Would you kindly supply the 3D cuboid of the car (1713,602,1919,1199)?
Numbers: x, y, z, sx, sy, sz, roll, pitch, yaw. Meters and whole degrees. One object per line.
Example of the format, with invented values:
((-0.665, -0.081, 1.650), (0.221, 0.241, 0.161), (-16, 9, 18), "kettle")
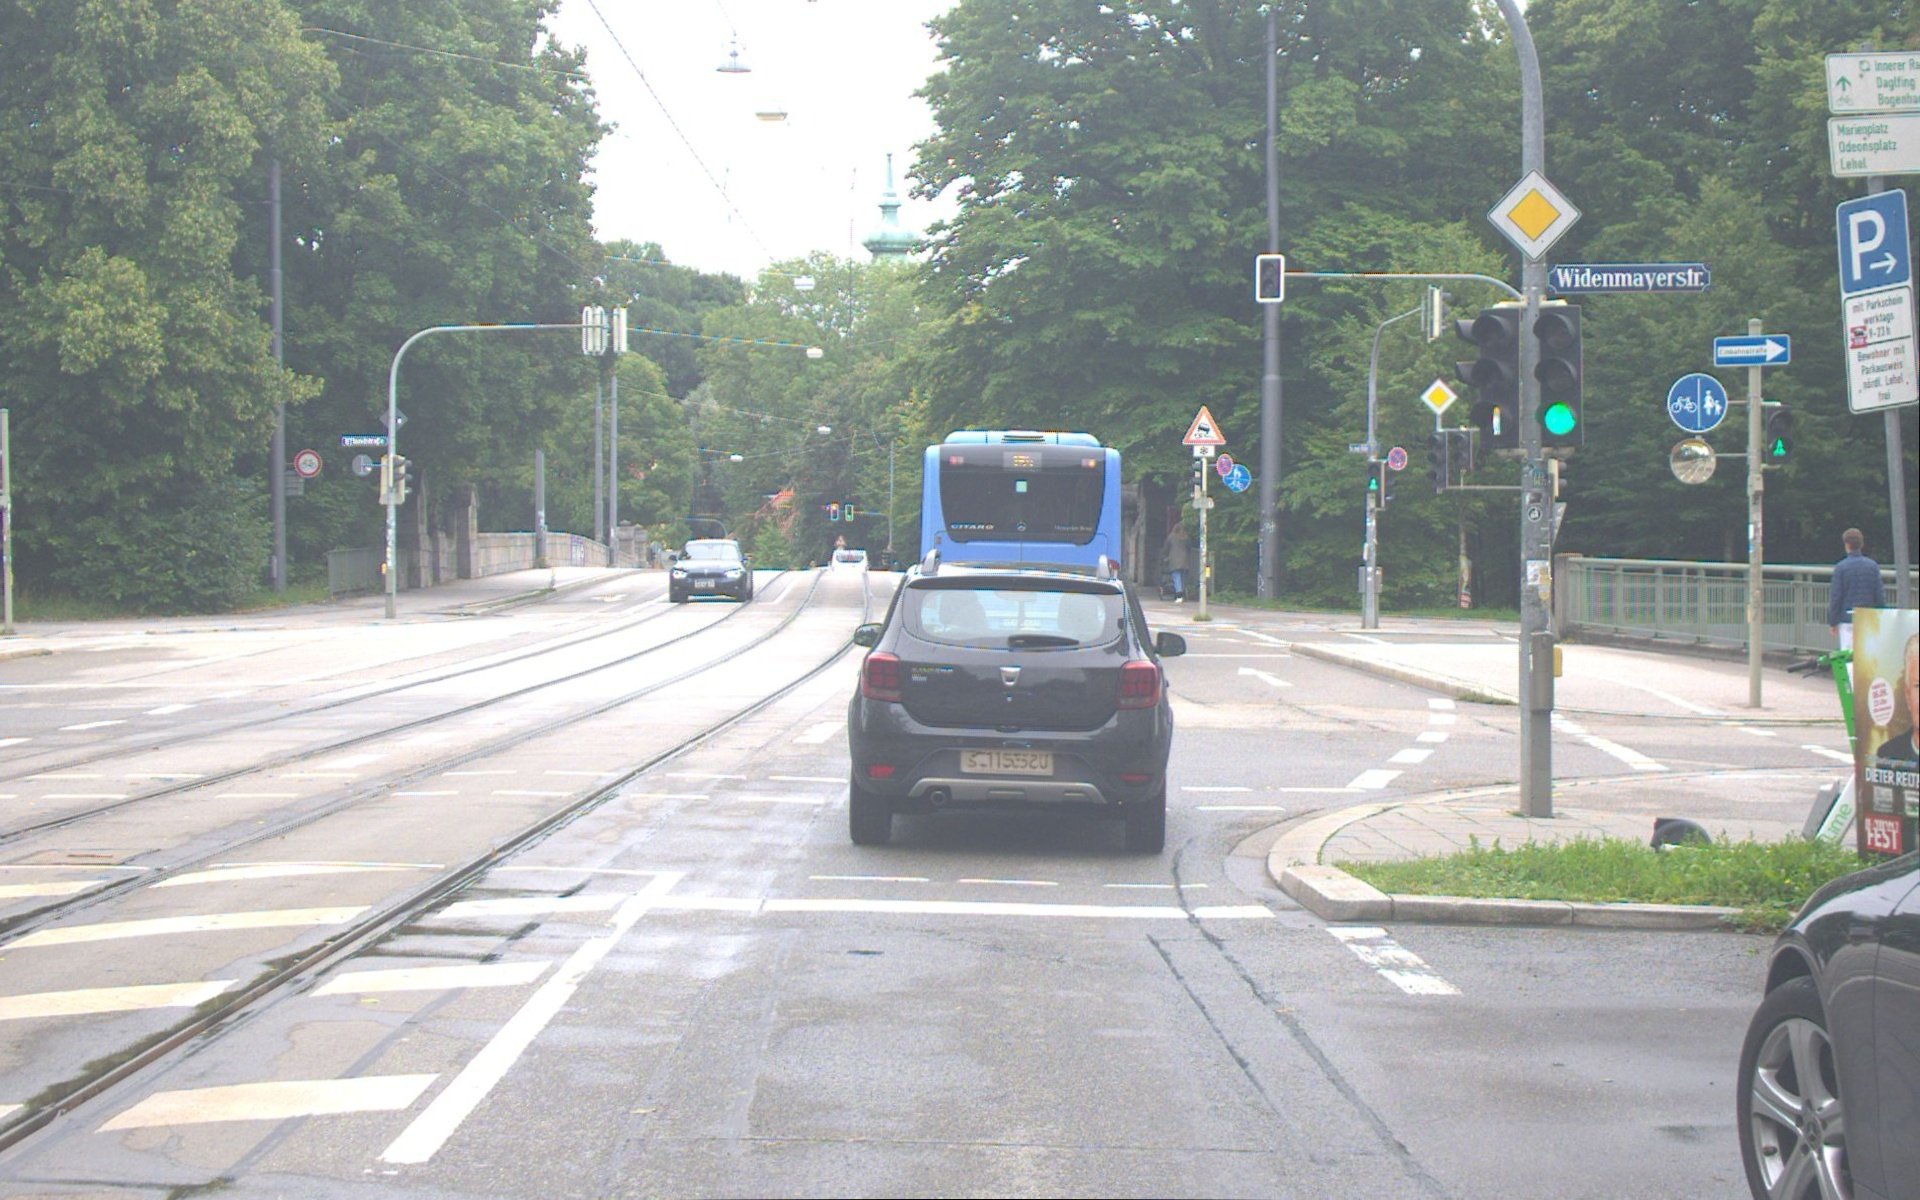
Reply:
((2.633, 0.838, 5.748), (1.714, 1.586, 4.327), (2, 0, -1), "car")

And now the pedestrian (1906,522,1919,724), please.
((9.959, 0.238, 34.156), (0.830, 2.007, 0.780), (2, 0, -1), "pedestrian")

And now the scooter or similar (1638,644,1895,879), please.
((4.014, 0.791, 17.140), (1.194, 1.092, 0.589), (2, 0, 13), "scooter or similar")

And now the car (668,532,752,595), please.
((-5.766, -0.843, 79.593), (1.787, 1.365, 3.400), (2, 0, -2), "car")

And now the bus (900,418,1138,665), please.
((0.669, -0.744, 46.190), (2.678, 2.987, 6.961), (2, 0, -3), "bus")

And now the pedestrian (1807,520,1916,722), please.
((9.139, 0.207, 34.874), (0.830, 2.007, 0.780), (2, 0, -1), "pedestrian")

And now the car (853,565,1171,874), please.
((0.232, 0.609, 19.568), (1.600, 1.551, 3.525), (2, 0, -1), "car")

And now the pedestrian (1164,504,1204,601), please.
((4.935, -1.046, 75.759), (0.762, 2.109, 0.853), (2, 0, -1), "pedestrian")
